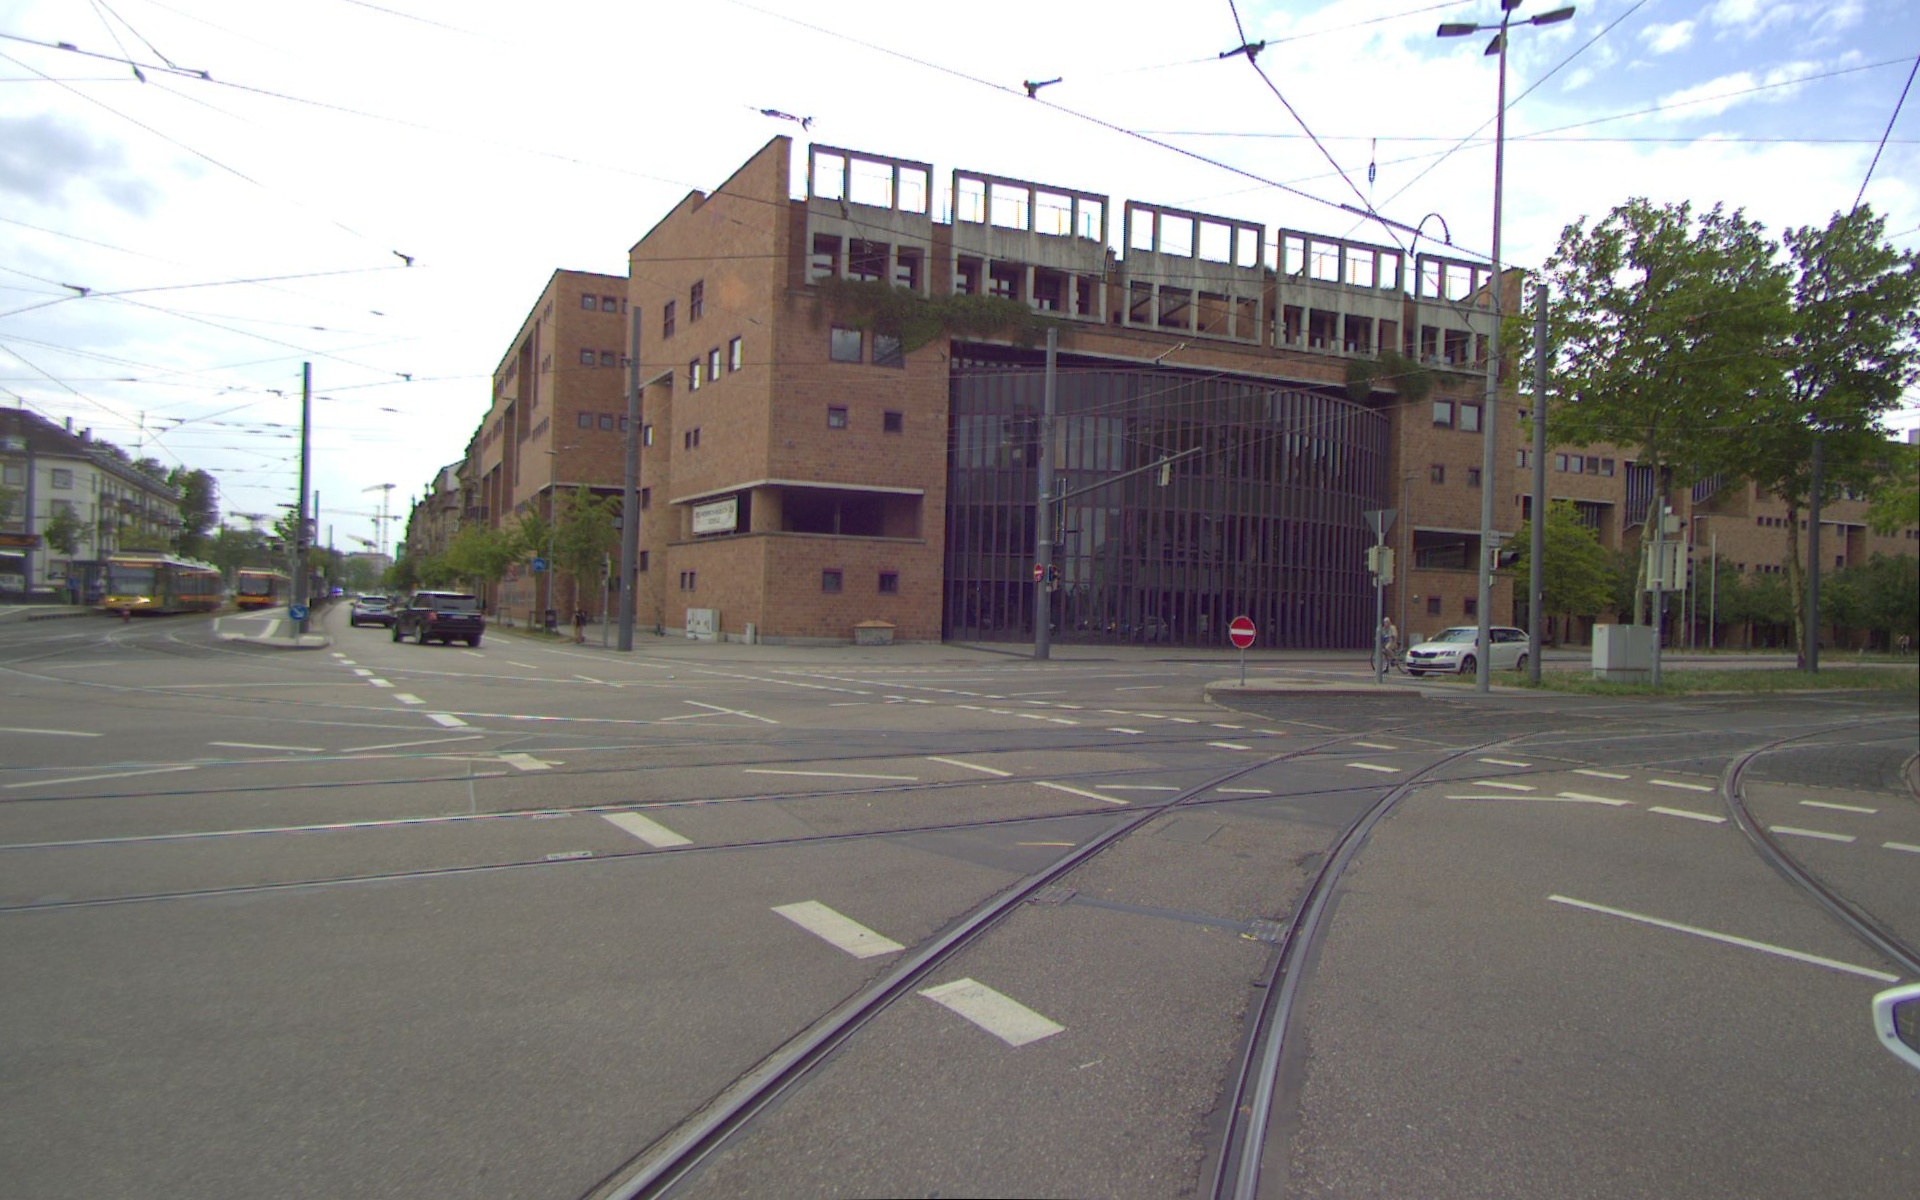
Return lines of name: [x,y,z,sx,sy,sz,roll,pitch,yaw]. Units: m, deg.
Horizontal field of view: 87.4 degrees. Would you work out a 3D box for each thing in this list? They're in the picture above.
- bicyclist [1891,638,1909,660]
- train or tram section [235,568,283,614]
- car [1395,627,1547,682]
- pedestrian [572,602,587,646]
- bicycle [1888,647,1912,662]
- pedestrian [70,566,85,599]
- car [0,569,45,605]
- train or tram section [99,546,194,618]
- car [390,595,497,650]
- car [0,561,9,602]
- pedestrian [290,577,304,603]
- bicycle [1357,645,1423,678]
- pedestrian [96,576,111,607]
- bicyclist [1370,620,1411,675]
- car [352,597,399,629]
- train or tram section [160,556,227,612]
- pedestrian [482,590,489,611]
bicyclist: [70.809,3.722,75.666,0.971,1.612,0.661,2,0,-27]
train or tram section: [-56.553,-0.677,81.203,2.424,3.496,9.528,2,-1,-31]
car: [14.879,1.571,29.170,4.605,1.440,1.774,2,0,-31]
pedestrian: [-15.138,0.966,39.941,0.454,1.731,0.479,2,-1,-27]
bicycle: [70.844,4.112,75.685,2.066,1.099,0.665,2,0,-27]
pedestrian: [-48.167,-0.961,54.824,0.539,1.754,0.487,3,-1,-39]
car: [-60.714,-0.826,64.473,1.977,2.196,4.533,2,-1,-31]
train or tram section: [-43.908,-0.895,54.481,2.548,3.496,9.528,2,-1,-31]
car: [-17.451,0.729,33.834,1.922,1.629,4.471,3,-1,-45]
car: [-56.299,-1.098,57.488,1.684,2.350,5.039,2,0,-32]
pedestrian: [-51.697,-0.770,78.304,0.771,2.040,1.220,2,0,-30]
bicycle: [13.053,1.872,30.485,2.099,0.929,0.726,2,0,-31]
pedestrian: [-48.355,-0.468,56.724,0.487,1.754,0.539,3,-1,-33]
bicyclist: [13.041,1.427,30.454,0.891,1.631,0.719,2,0,-30]
car: [-29.456,0.653,50.573,1.913,1.450,4.266,3,-1,-31]
train or tram section: [-52.357,-1.031,68.764,2.548,3.496,8.620,2,-1,-31]
pedestrian: [-40.688,0.047,86.066,0.428,1.731,0.527,3,-1,-34]
